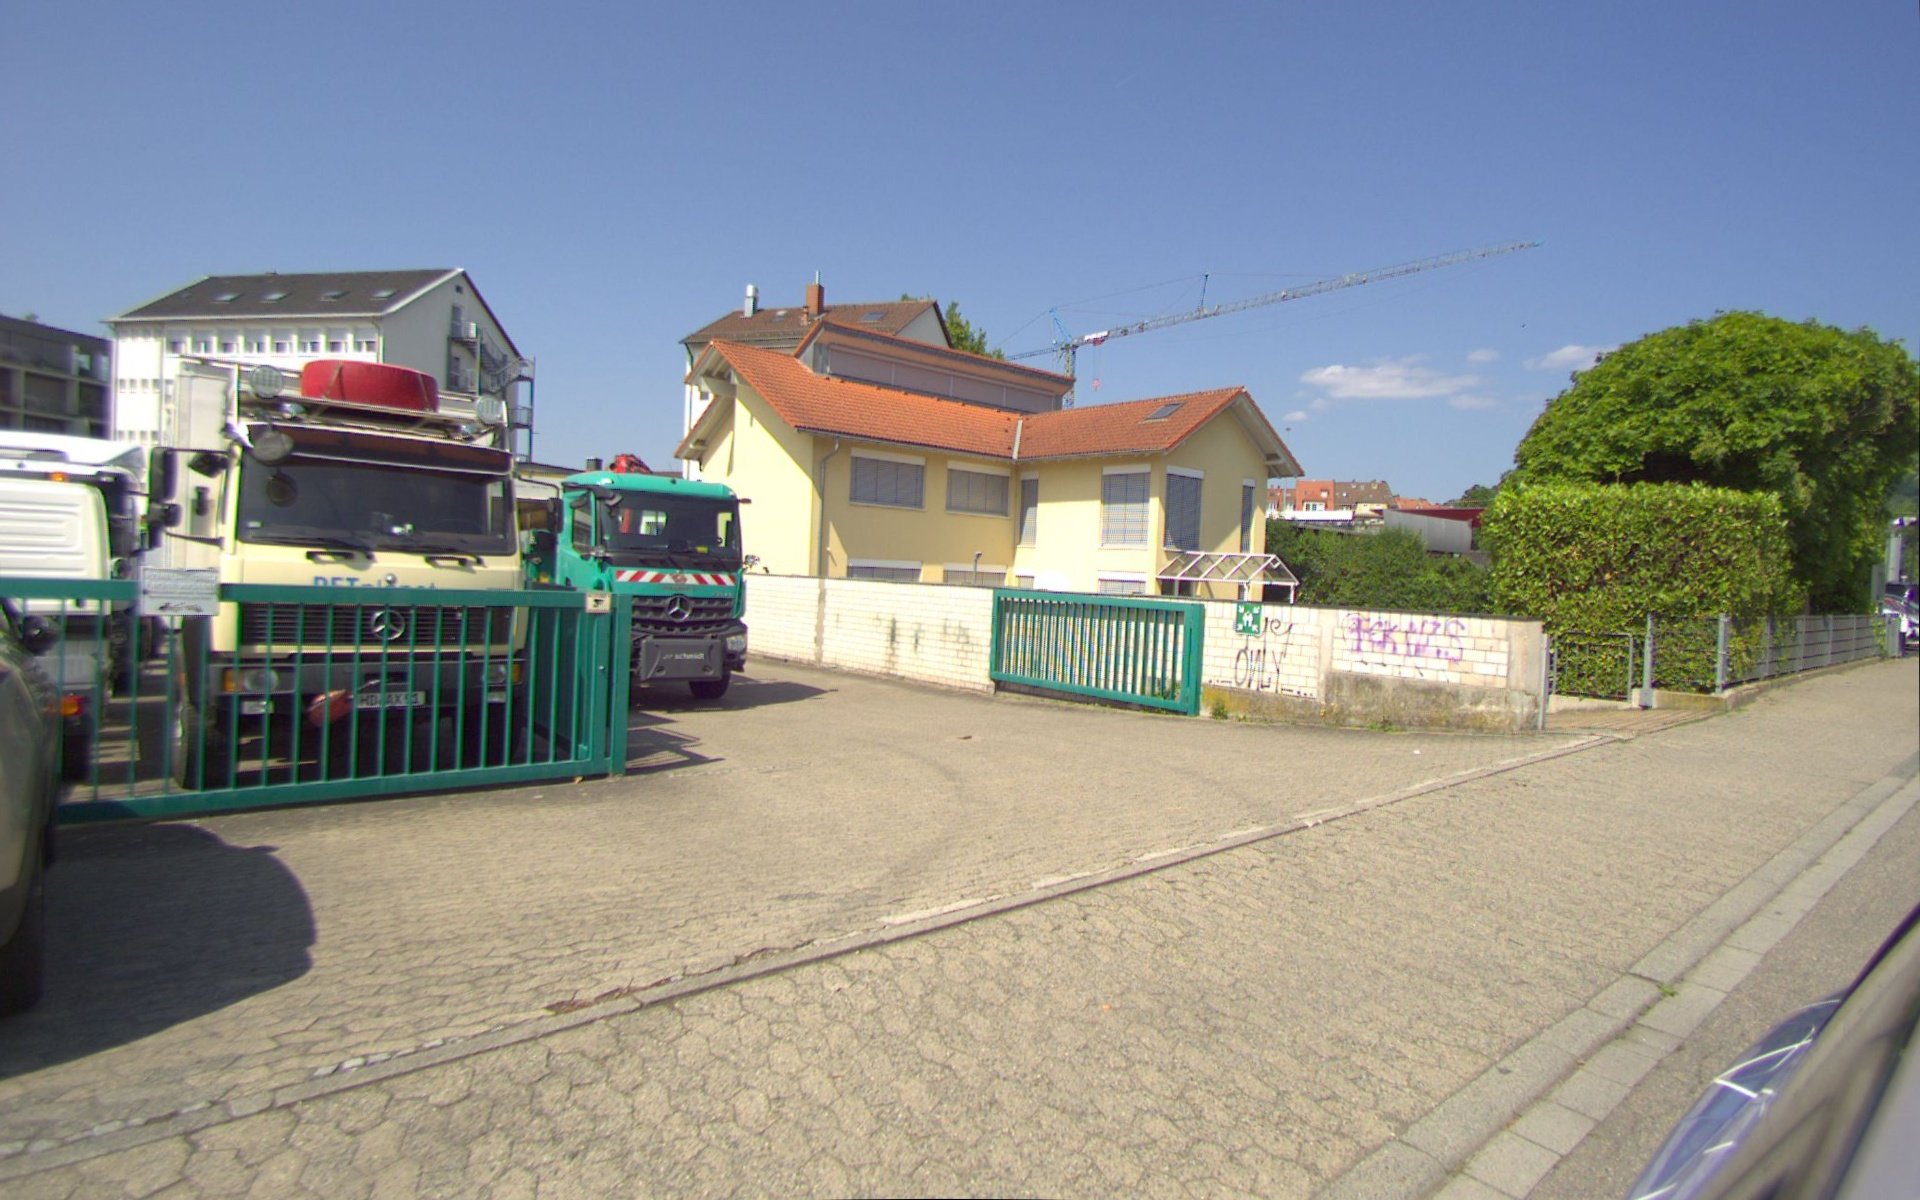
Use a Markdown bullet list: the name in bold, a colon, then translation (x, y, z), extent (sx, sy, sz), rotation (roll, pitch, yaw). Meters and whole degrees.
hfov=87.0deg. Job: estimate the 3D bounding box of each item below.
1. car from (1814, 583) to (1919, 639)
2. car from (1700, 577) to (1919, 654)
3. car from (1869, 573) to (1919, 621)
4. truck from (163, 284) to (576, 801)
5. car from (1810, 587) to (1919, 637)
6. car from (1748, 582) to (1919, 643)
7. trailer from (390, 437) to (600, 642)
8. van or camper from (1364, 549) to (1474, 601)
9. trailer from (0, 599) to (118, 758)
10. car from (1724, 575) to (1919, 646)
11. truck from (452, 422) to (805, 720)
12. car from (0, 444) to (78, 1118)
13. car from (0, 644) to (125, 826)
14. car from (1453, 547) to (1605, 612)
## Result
- **car**: translation (30.101, 0.358, 32.519), extent (1.729, 1.644, 3.810), rotation (0, 3, -41)
- **car**: translation (21.949, 0.338, 26.017), extent (1.812, 1.674, 4.410), rotation (0, 3, -42)
- **car**: translation (39.086, -0.087, 40.288), extent (4.205, 1.804, 1.856), rotation (1, 2, -4)
- **truck**: translation (-6.537, -0.360, 10.485), extent (2.482, 3.467, 7.532), rotation (1, -1, -40)
- **car**: translation (28.071, 0.381, 30.476), extent (1.532, 1.351, 3.556), rotation (1, 2, -41)
- **car**: translation (25.778, 0.334, 29.267), extent (1.864, 1.515, 4.412), rotation (0, 3, -41)
- **trailer**: translation (-11.126, -1.336, 23.624), extent (3.009, 3.910, 8.365), rotation (1, 2, -35)
- **van or camper**: translation (23.372, -1.305, 51.781), extent (4.874, 2.466, 1.988), rotation (3, 2, 20)
- **trailer**: translation (-10.571, 0.693, 10.817), extent (2.257, 1.211, 5.476), rotation (1, 1, -39)
- **car**: translation (23.803, 0.241, 27.599), extent (1.865, 1.546, 4.411), rotation (-1, 5, -42)
- **truck**: translation (-5.870, -0.512, 16.612), extent (2.899, 3.656, 8.300), rotation (1, 2, -37)
- **car**: translation (-4.375, 0.508, 3.658), extent (1.736, 1.704, 4.207), rotation (0, -2, -41)
- **car**: translation (-6.826, 0.875, 7.258), extent (1.264, 1.016, 2.902), rotation (1, -1, -39)
- **car**: translation (26.597, -1.019, 47.625), extent (5.963, 2.711, 2.238), rotation (4, 3, 27)
